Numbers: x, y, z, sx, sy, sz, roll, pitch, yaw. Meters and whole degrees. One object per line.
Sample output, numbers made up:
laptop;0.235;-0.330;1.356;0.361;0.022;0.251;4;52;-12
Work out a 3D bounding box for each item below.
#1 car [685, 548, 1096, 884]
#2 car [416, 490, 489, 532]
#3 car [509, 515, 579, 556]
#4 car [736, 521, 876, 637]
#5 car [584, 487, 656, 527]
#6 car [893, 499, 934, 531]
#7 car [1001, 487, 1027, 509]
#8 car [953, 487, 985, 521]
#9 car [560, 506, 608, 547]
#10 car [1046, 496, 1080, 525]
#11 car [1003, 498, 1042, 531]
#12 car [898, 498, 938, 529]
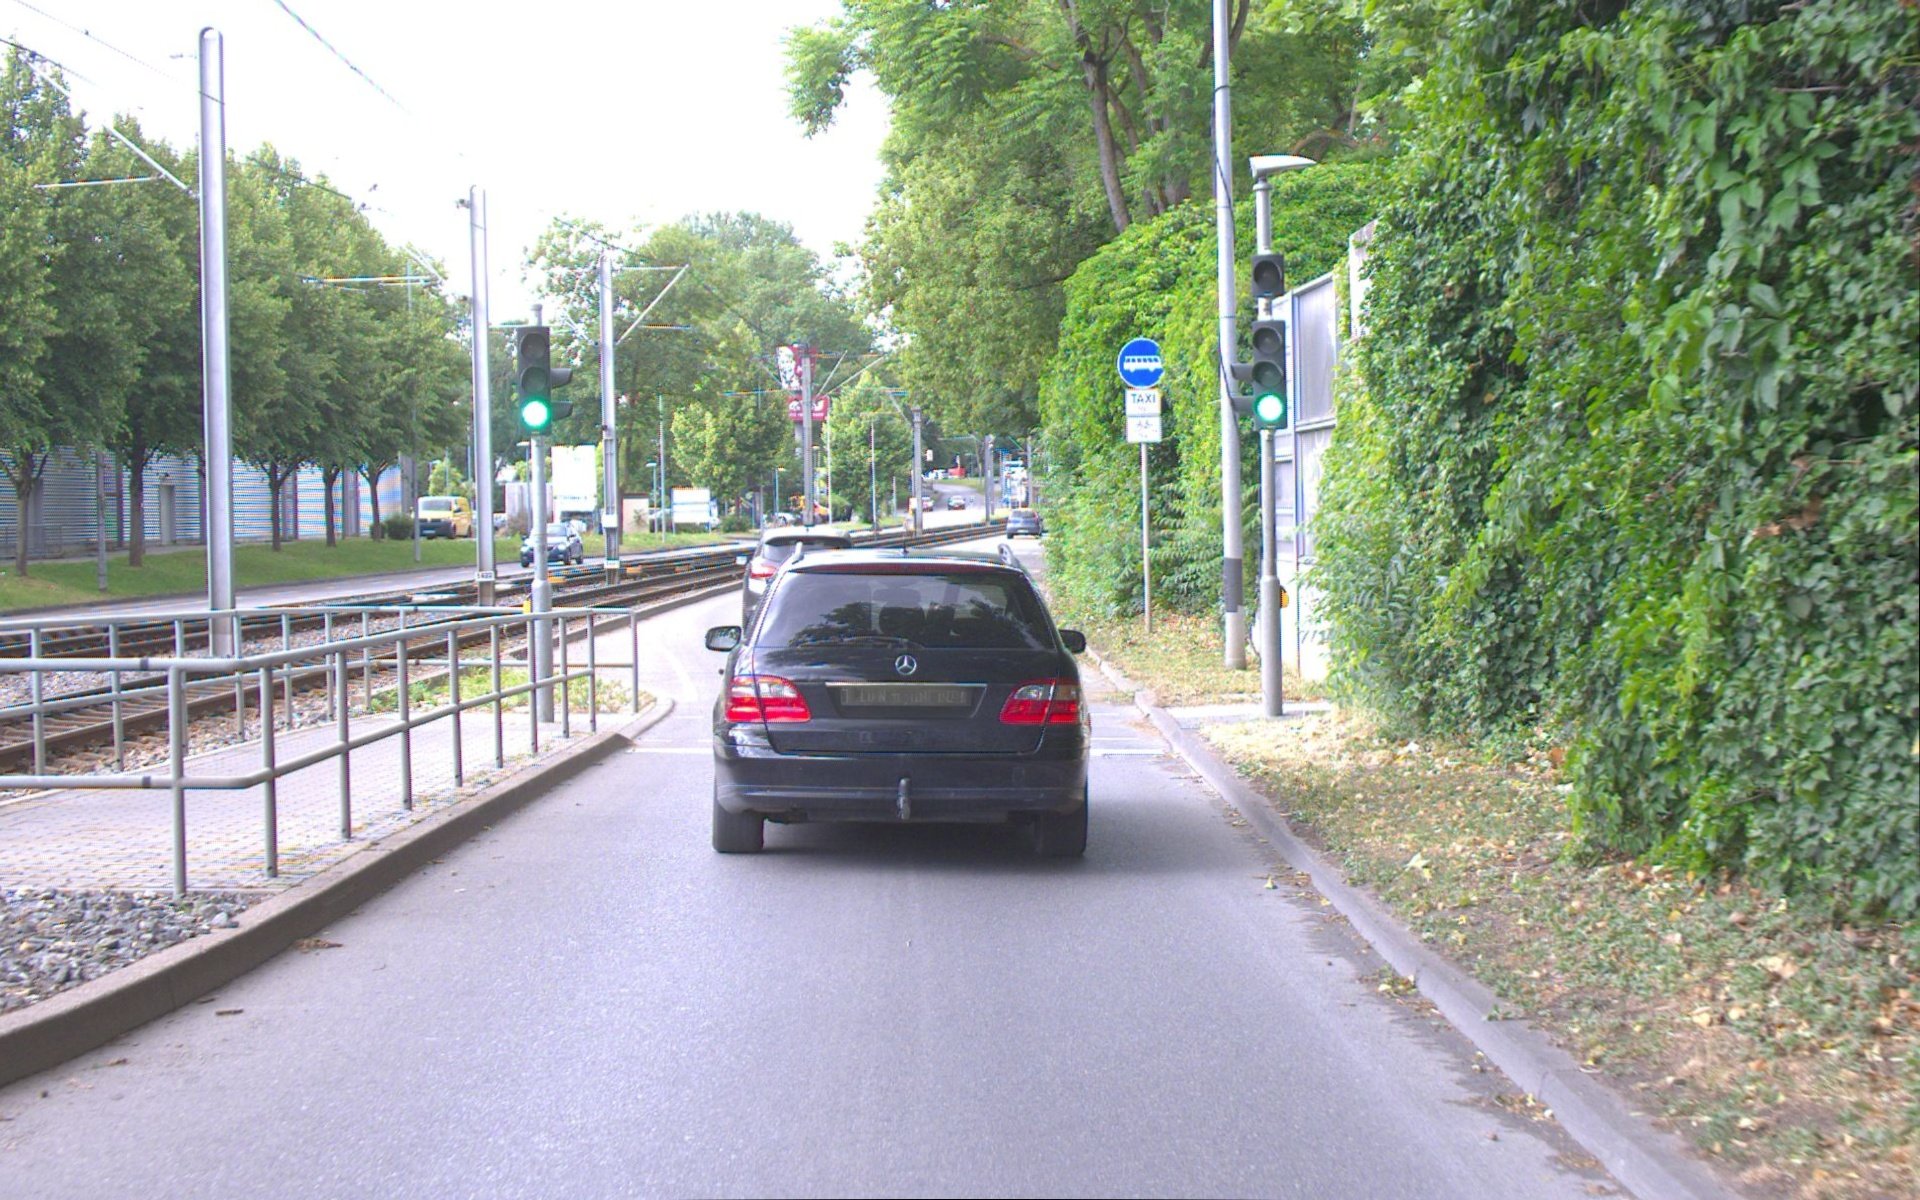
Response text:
car;-0.277;0.484;17.547;1.833;1.473;4.416;0;1;1
car;-21.658;-3.814;146.952;1.994;1.737;4.987;-1;2;4
car;-14.405;-2.260;119.265;1.660;1.388;3.718;0;2;5
car;-2.145;-0.337;48.912;1.825;1.524;4.416;0;2;0
car;-19.556;-5.341;197.944;3.986;2.116;2.000;-2;1;-4
car;-2.246;-4.116;166.886;1.825;1.524;3.986;0;2;2
car;3.925;-7.395;249.169;1.825;1.524;4.179;0;2;2
car;0.572;-5.914;211.708;1.891;2.007;3.898;-1;1;0
car;-19.452;-3.828;177.871;1.993;2.007;4.000;-2;1;0
car;5.521;-4.825;184.033;1.825;1.524;4.179;0;2;2
car;3.103;-4.213;169.494;1.825;1.524;4.416;-1;1;2
car;-2.104;-4.344;171.746;1.825;1.524;3.986;0;2;2
